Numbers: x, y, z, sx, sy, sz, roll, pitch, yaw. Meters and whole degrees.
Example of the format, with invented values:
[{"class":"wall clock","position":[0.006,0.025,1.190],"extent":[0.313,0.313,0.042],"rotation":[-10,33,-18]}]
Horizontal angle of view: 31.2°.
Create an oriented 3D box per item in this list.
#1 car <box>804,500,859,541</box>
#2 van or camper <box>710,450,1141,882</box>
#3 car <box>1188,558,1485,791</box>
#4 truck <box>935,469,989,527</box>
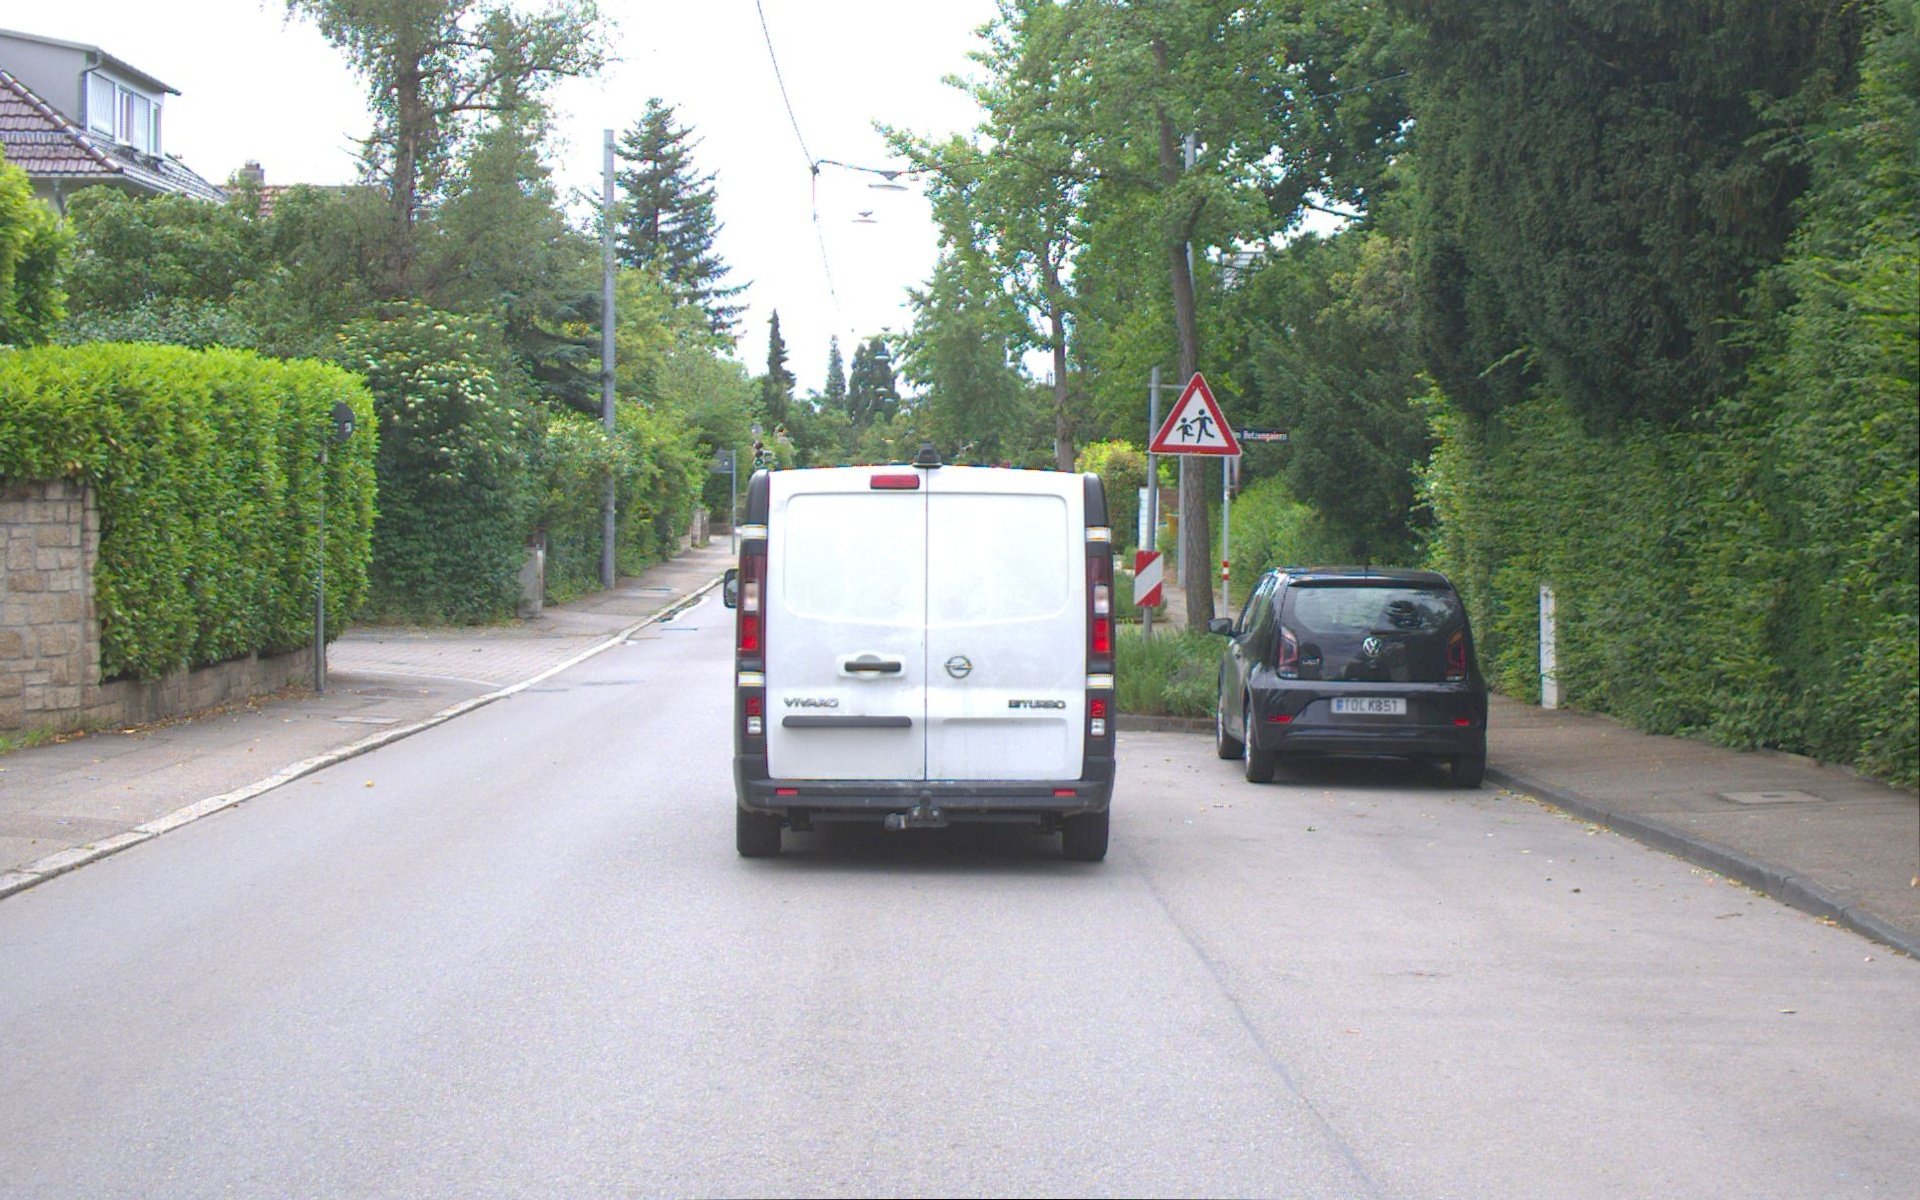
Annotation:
[{"class":"car","position":[-4.842,-3.028,130.091],"extent":[1.805,1.426,4.301],"rotation":[-2,2,1]},{"class":"van or camper","position":[-0.231,0.273,18.305],"extent":[1.939,1.947,4.766],"rotation":[2,1,-2]},{"class":"car","position":[2.613,0.473,24.588],"extent":[1.623,1.468,3.740],"rotation":[1,1,-1]},{"class":"truck","position":[0.059,-4.611,154.844],"extent":[2.187,2.463,7.431],"rotation":[2,2,-1]}]
